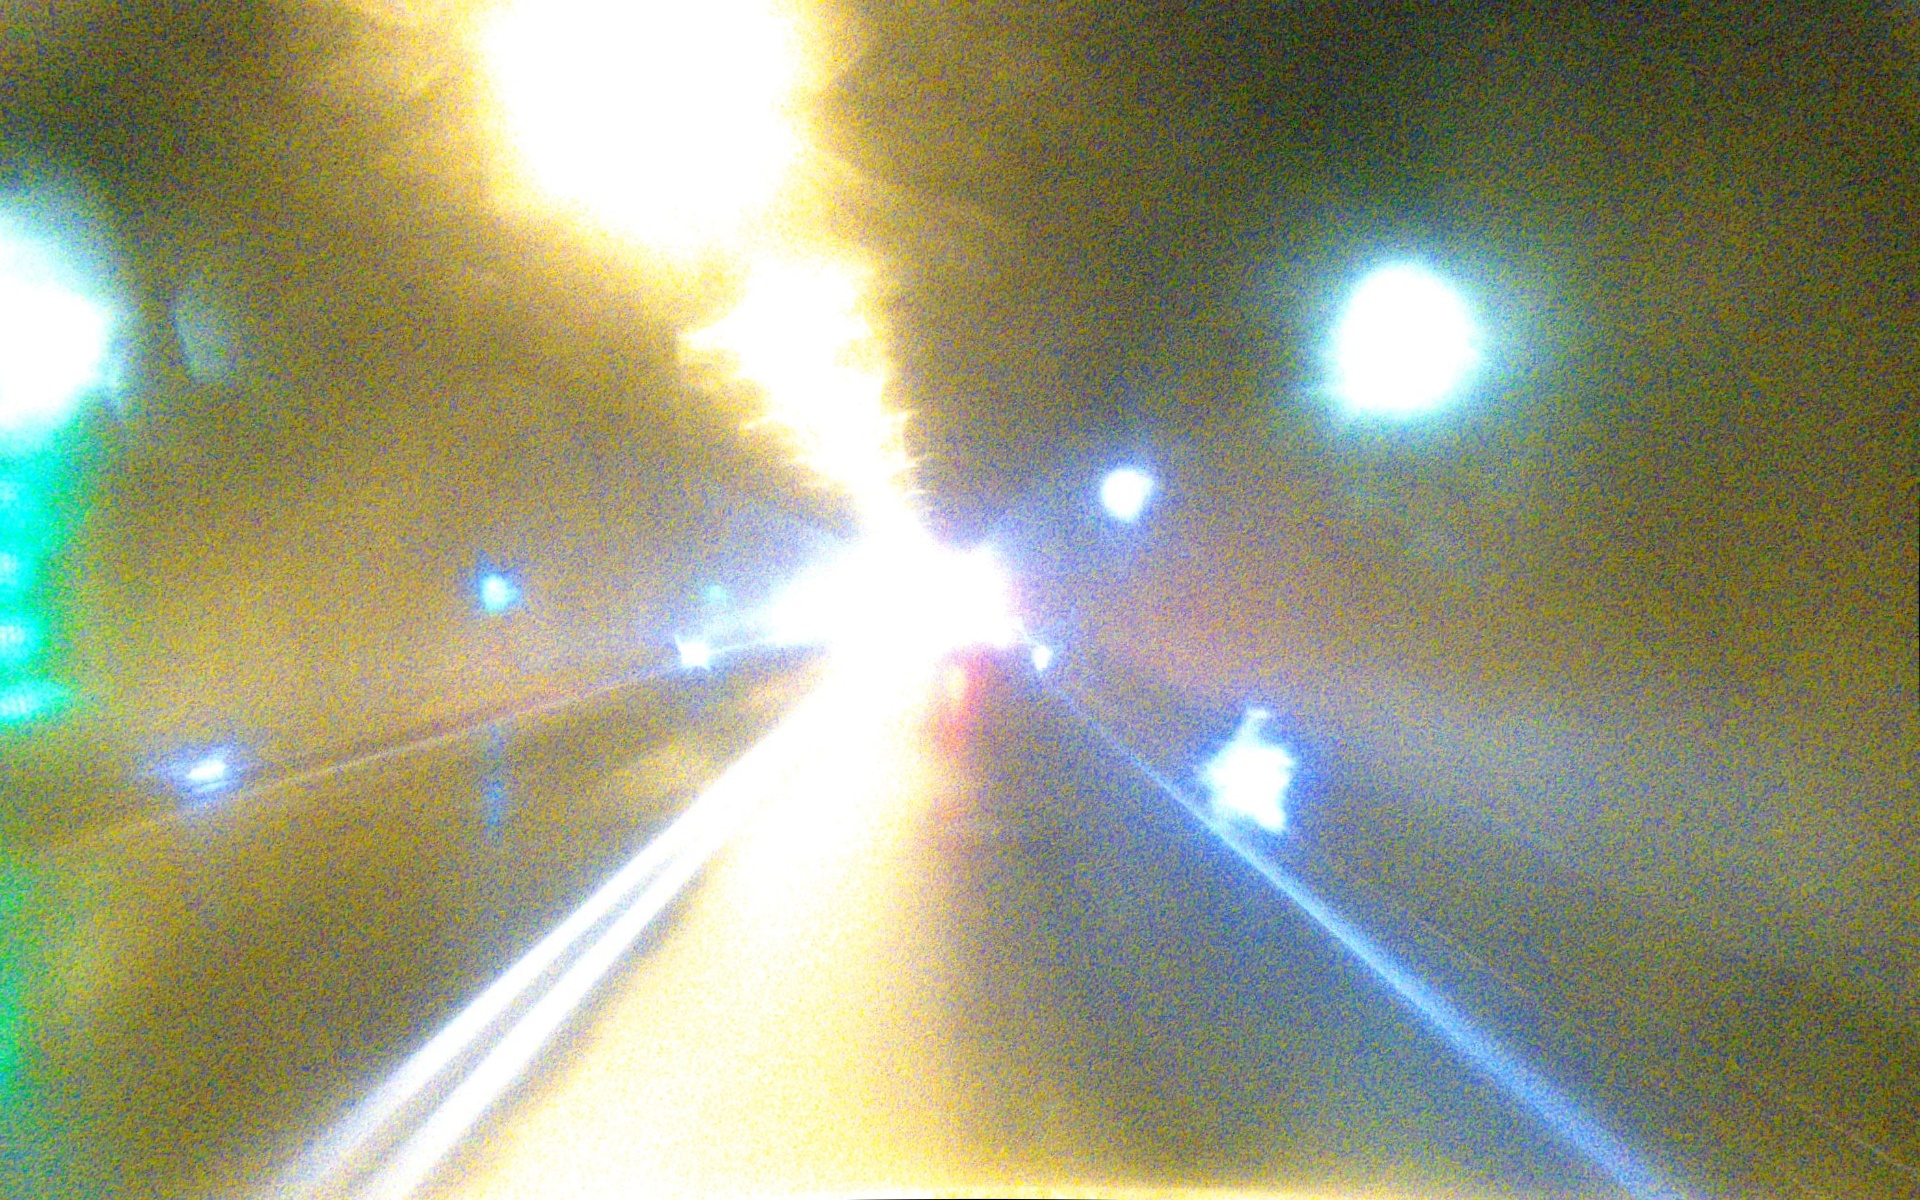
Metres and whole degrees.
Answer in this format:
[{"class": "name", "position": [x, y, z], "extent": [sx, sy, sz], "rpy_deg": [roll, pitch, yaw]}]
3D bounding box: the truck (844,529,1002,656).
[{"class": "truck", "position": [-0.863, -0.173, 41.507], "extent": [3.463, 2.740, 8.954], "rpy_deg": [2, 0, -1]}]
